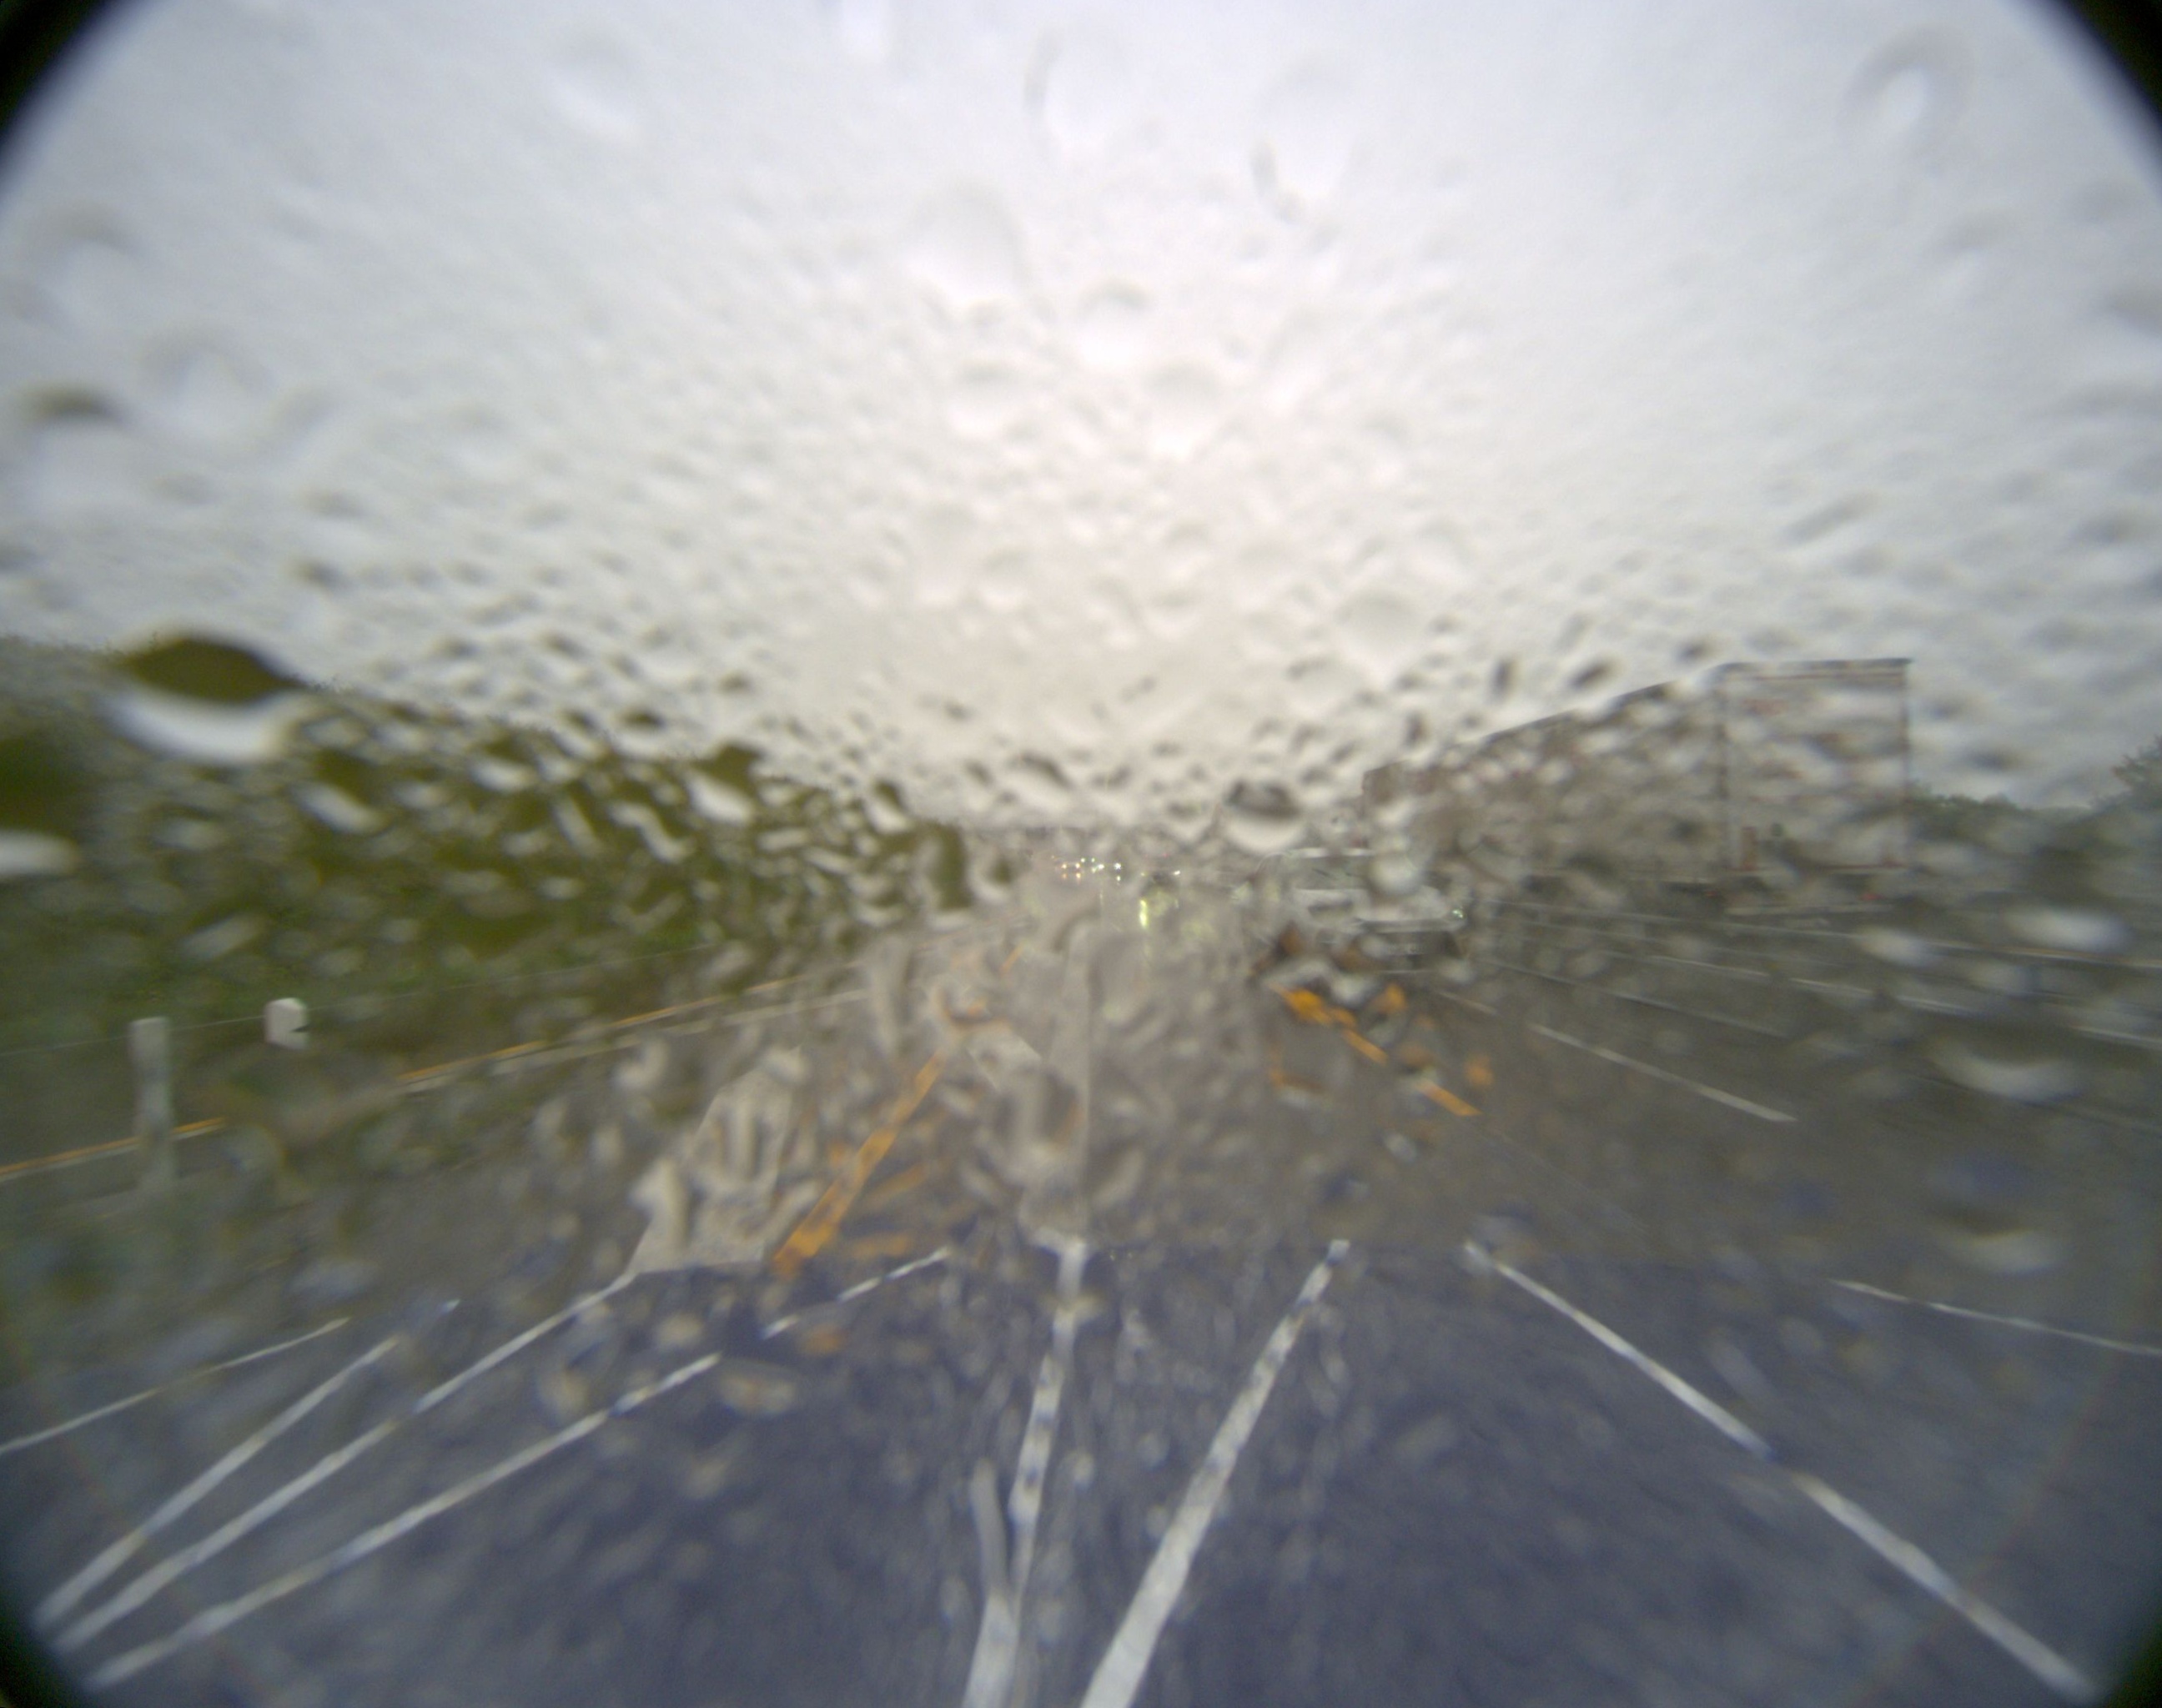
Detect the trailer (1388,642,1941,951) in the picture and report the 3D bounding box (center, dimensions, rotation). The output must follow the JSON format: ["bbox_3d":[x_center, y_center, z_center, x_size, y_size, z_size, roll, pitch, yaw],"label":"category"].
[{"bbox_3d":[10.168,-0.794,16.054,2.619,3.984,11.927,-3,0,1],"label":"trailer"}]

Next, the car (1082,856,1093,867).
[{"bbox_3d":[0.910,1.087,112.328,1.589,1.528,3.831,0,0,0],"label":"car"}]

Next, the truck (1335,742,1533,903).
[{"bbox_3d":[10.311,-0.841,23.198,2.649,4.024,7.284,-3,1,1],"label":"truck"}]

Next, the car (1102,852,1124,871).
[{"bbox_3d":[2.764,0.627,66.693,1.792,1.480,4.000,-3,0,1],"label":"car"}]

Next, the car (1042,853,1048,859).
[{"bbox_3d":[-12.072,0.644,252.513,1.673,1.804,4.000,0,0,0],"label":"car"}]

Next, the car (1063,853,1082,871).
[{"bbox_3d":[-0.839,0.838,80.180,1.881,1.772,4.000,0,0,1],"label":"car"}]

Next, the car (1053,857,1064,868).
[{"bbox_3d":[-3.855,1.370,130.019,1.674,1.804,3.998,0,0,-3],"label":"car"}]

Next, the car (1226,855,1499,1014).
[{"bbox_3d":[3.309,0.816,10.159,1.932,1.542,5.007,-1,0,2],"label":"car"}]

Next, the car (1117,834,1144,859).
[{"bbox_3d":[7.611,-1.146,117.753,3.305,3.718,9.399,-3,0,0],"label":"car"}]

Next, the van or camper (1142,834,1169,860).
[{"bbox_3d":[9.015,-0.851,91.949,2.491,2.901,6.222,-3,0,0],"label":"van or camper"}]

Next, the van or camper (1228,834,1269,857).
[{"bbox_3d":[26.021,-1.246,118.172,5.421,3.325,3.377,-2,1,-2],"label":"van or camper"}]

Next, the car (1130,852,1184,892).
[{"bbox_3d":[3.361,0.747,34.582,2.069,1.618,5.196,-1,0,2],"label":"car"}]
